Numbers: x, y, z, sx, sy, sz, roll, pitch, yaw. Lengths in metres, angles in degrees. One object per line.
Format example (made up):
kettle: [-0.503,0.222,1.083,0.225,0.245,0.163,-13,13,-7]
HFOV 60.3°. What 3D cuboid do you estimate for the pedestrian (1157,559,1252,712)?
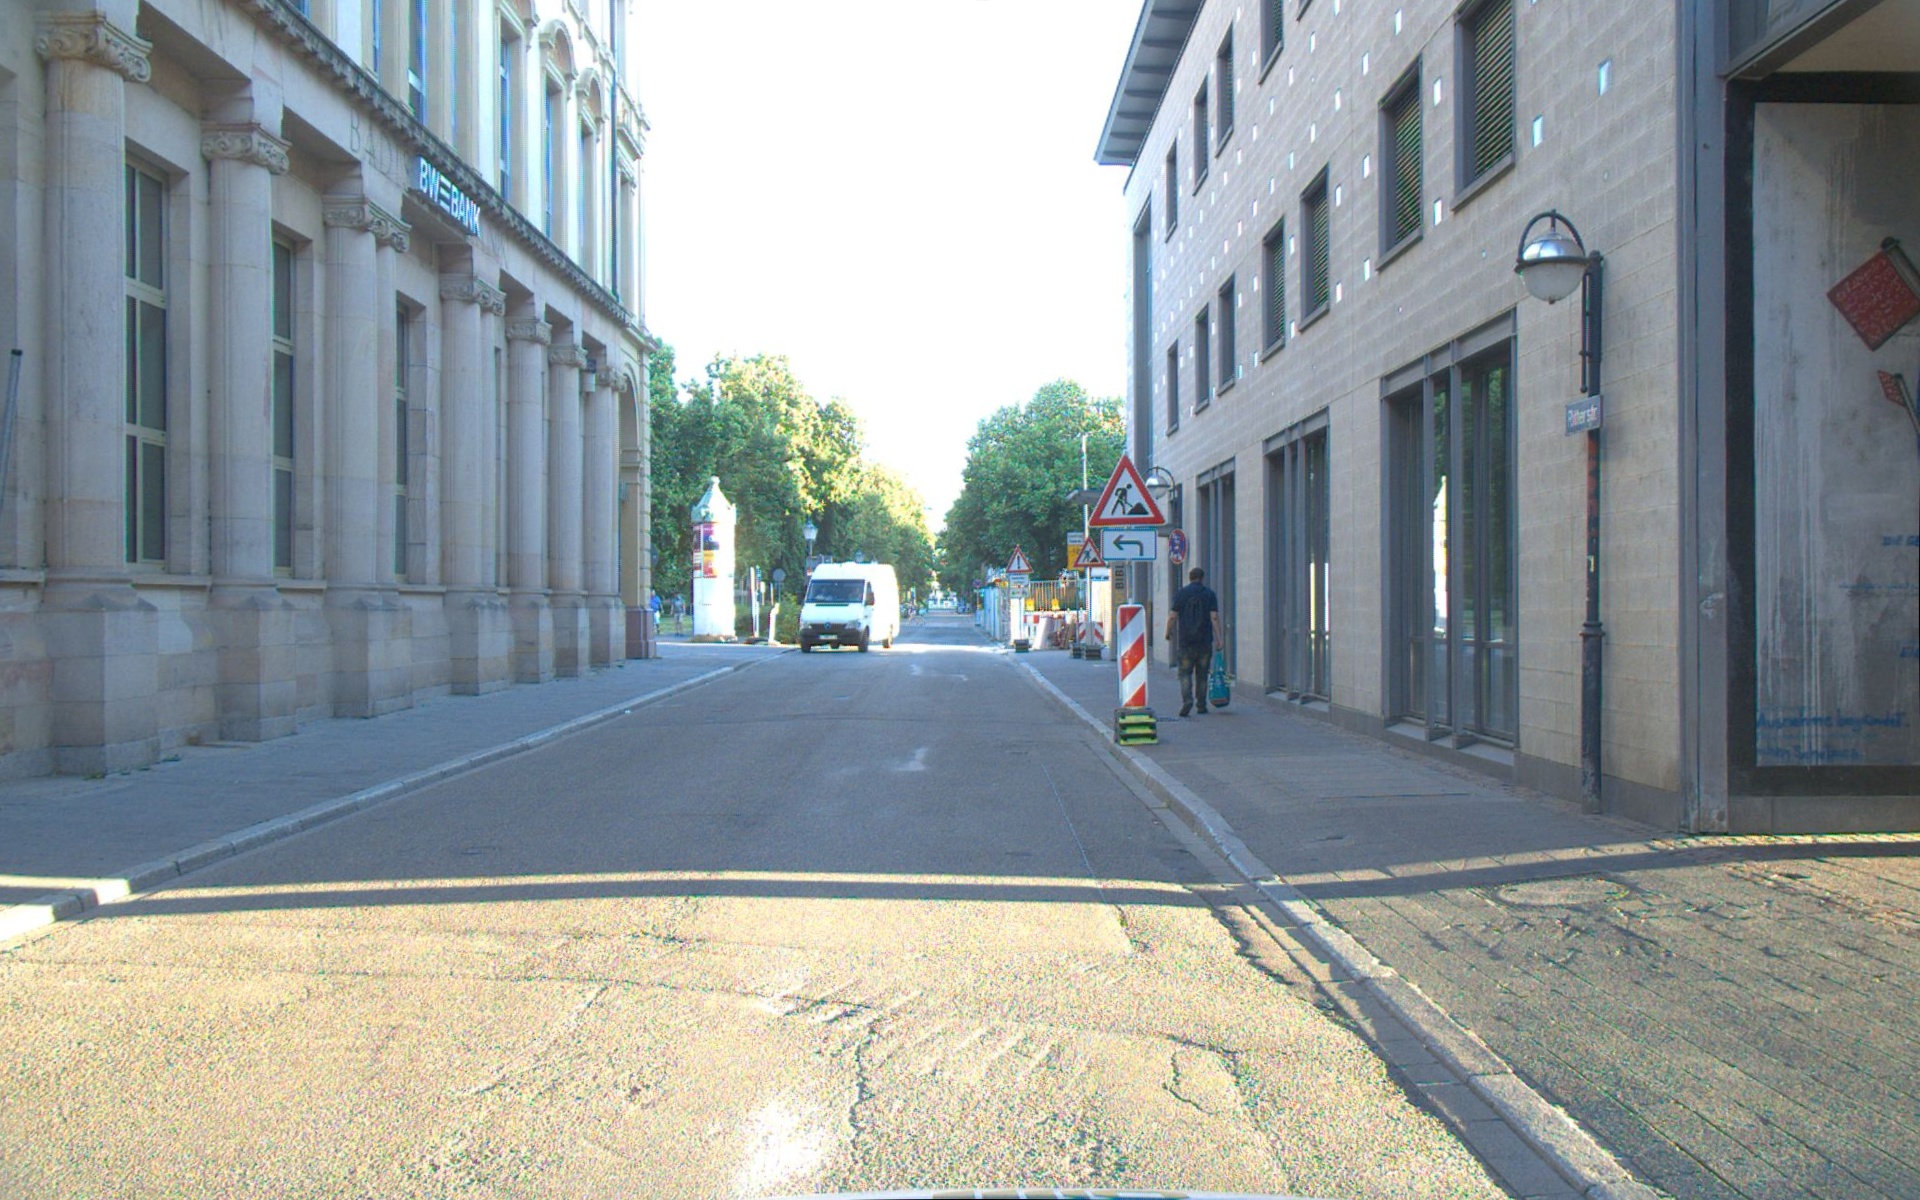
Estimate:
pedestrian: [3.019,0.435,20.488,0.980,1.835,0.881,-1,-1,-1]

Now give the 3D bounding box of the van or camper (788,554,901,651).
van or camper: [-3.274,0.065,48.224,2.172,2.630,6.376,0,0,6]

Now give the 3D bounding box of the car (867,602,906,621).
car: [-7.180,1.134,160.864,3.486,1.814,1.791,-1,-1,9]

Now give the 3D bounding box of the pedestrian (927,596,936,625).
pedestrian: [-2.005,0.727,115.433,0.570,2.049,0.680,0,0,-9]

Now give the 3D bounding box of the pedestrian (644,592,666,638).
pedestrian: [-12.187,0.599,66.055,0.835,1.839,0.661,0,0,-14]

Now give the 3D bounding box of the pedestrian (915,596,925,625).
pedestrian: [-2.823,0.748,115.837,0.598,2.049,0.903,0,0,-9]

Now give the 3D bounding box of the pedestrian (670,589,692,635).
pedestrian: [-11.207,0.492,66.367,0.835,1.839,0.661,0,0,-14]
